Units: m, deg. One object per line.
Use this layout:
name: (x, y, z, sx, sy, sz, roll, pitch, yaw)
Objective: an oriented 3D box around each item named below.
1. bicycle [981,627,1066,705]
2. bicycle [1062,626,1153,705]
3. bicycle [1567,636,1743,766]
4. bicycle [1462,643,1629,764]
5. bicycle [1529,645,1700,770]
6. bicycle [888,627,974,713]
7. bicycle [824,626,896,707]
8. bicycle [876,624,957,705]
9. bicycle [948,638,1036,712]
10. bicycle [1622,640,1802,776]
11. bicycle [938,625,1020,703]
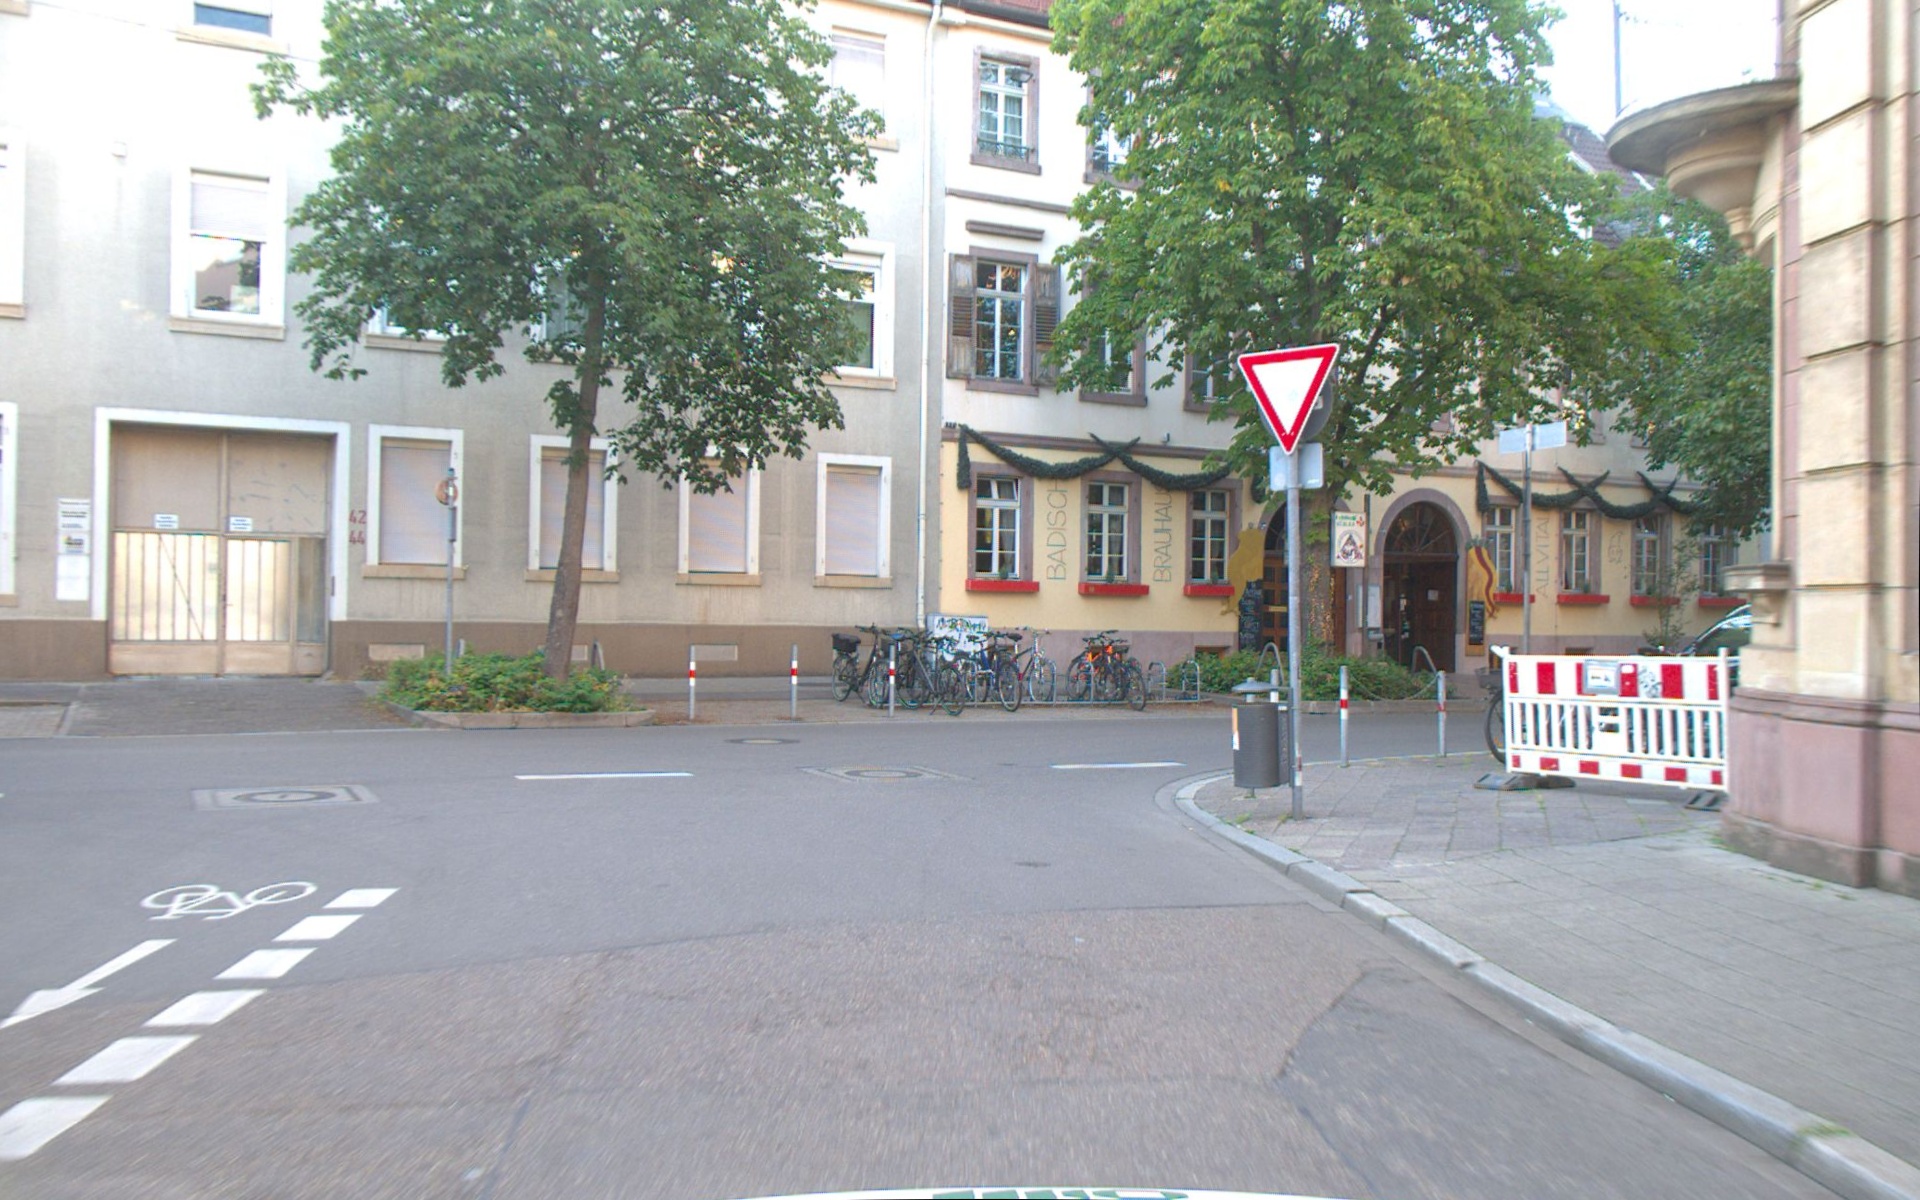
bicycle: (0.998, 1.034, 26.441, 0.415, 1.165, 2.024, 1, -1, -27)
bicycle: (2.302, 1.008, 25.998, 0.415, 1.165, 2.024, 1, -1, -27)
bicycle: (6.389, 0.906, 15.175, 1.842, 1.108, 0.361, -1, -2, -27)
bicycle: (5.774, 0.997, 16.276, 1.842, 1.108, 0.361, -1, -2, -27)
bicycle: (6.252, 1.001, 15.765, 1.842, 1.108, 0.361, -1, -2, -27)
bicycle: (-0.436, 0.983, 23.826, 0.439, 1.165, 2.025, 1, -1, -25)
bicycle: (-1.525, 0.980, 25.006, 0.439, 1.165, 2.028, 1, -1, -23)
bicycle: (-0.687, 0.966, 25.450, 0.415, 1.165, 2.024, 1, -1, -27)
bicycle: (0.459, 1.092, 24.697, 0.415, 1.021, 2.024, 1, -1, -27)
bicycle: (6.664, 0.933, 14.628, 1.842, 1.108, 0.361, -1, -2, -27)
bicycle: (0.282, 0.988, 26.142, 0.415, 1.165, 2.024, 1, -1, -27)
